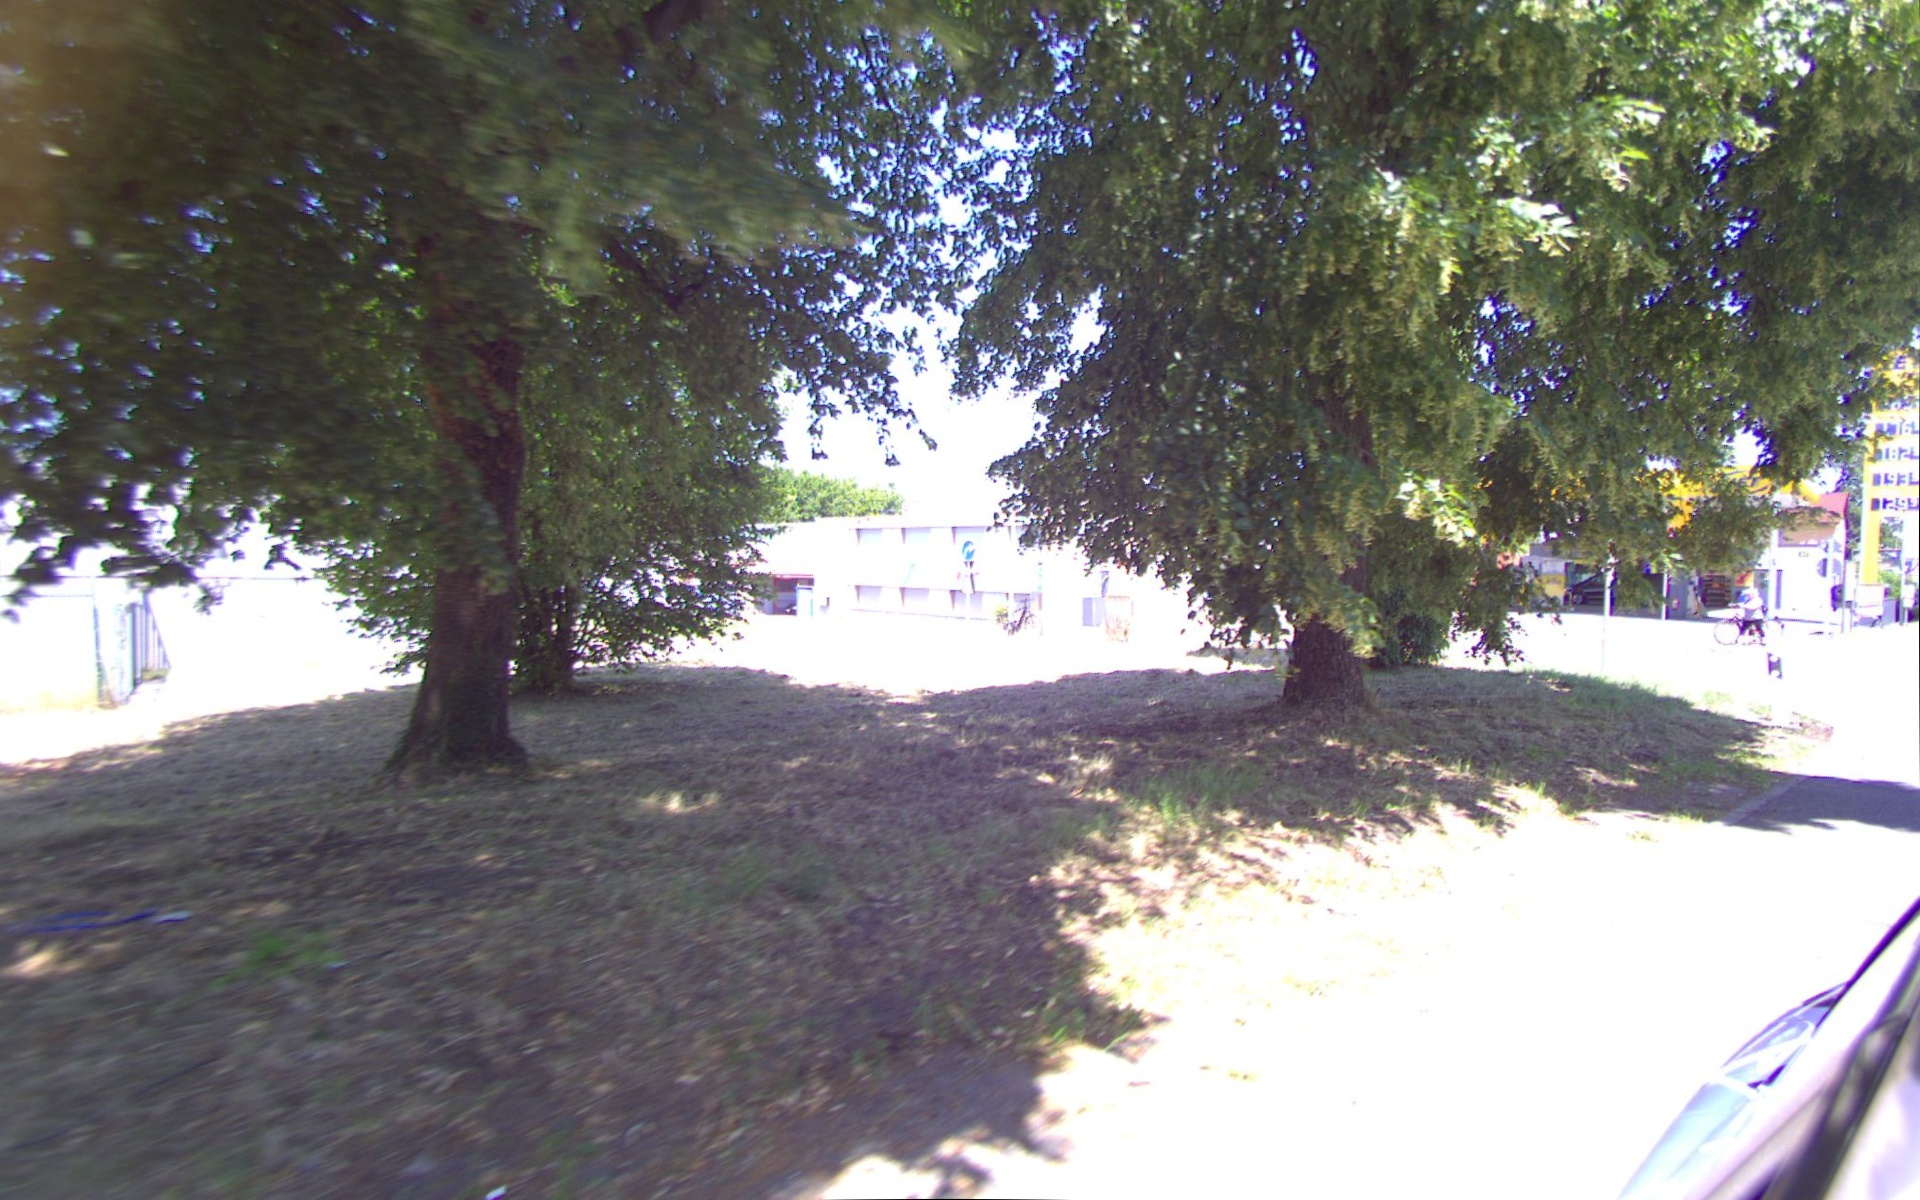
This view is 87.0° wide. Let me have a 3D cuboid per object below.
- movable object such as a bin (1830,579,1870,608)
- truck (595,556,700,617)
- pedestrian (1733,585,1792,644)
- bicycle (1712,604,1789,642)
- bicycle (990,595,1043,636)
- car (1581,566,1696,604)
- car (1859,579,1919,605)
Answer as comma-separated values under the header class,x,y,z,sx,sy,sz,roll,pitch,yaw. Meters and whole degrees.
class,x,y,z,sx,sy,sz,roll,pitch,yaw
movable object such as a bin,46.563,-0.349,52.942,1.444,1.455,1.435,0,3,-45
truck,-20.677,-0.899,66.601,2.526,3.766,9.454,-1,1,-45
pedestrian,19.938,0.340,25.157,0.852,1.439,0.770,0,1,4
bicycle,20.052,0.577,25.682,1.570,0.923,0.378,0,1,6
bicycle,1.584,0.421,28.615,0.459,1.111,1.697,-1,1,-39
car,37.810,-0.878,56.509,1.967,2.000,5.055,0,2,-43
car,72.413,-0.646,78.298,4.128,1.962,1.782,2,1,39
